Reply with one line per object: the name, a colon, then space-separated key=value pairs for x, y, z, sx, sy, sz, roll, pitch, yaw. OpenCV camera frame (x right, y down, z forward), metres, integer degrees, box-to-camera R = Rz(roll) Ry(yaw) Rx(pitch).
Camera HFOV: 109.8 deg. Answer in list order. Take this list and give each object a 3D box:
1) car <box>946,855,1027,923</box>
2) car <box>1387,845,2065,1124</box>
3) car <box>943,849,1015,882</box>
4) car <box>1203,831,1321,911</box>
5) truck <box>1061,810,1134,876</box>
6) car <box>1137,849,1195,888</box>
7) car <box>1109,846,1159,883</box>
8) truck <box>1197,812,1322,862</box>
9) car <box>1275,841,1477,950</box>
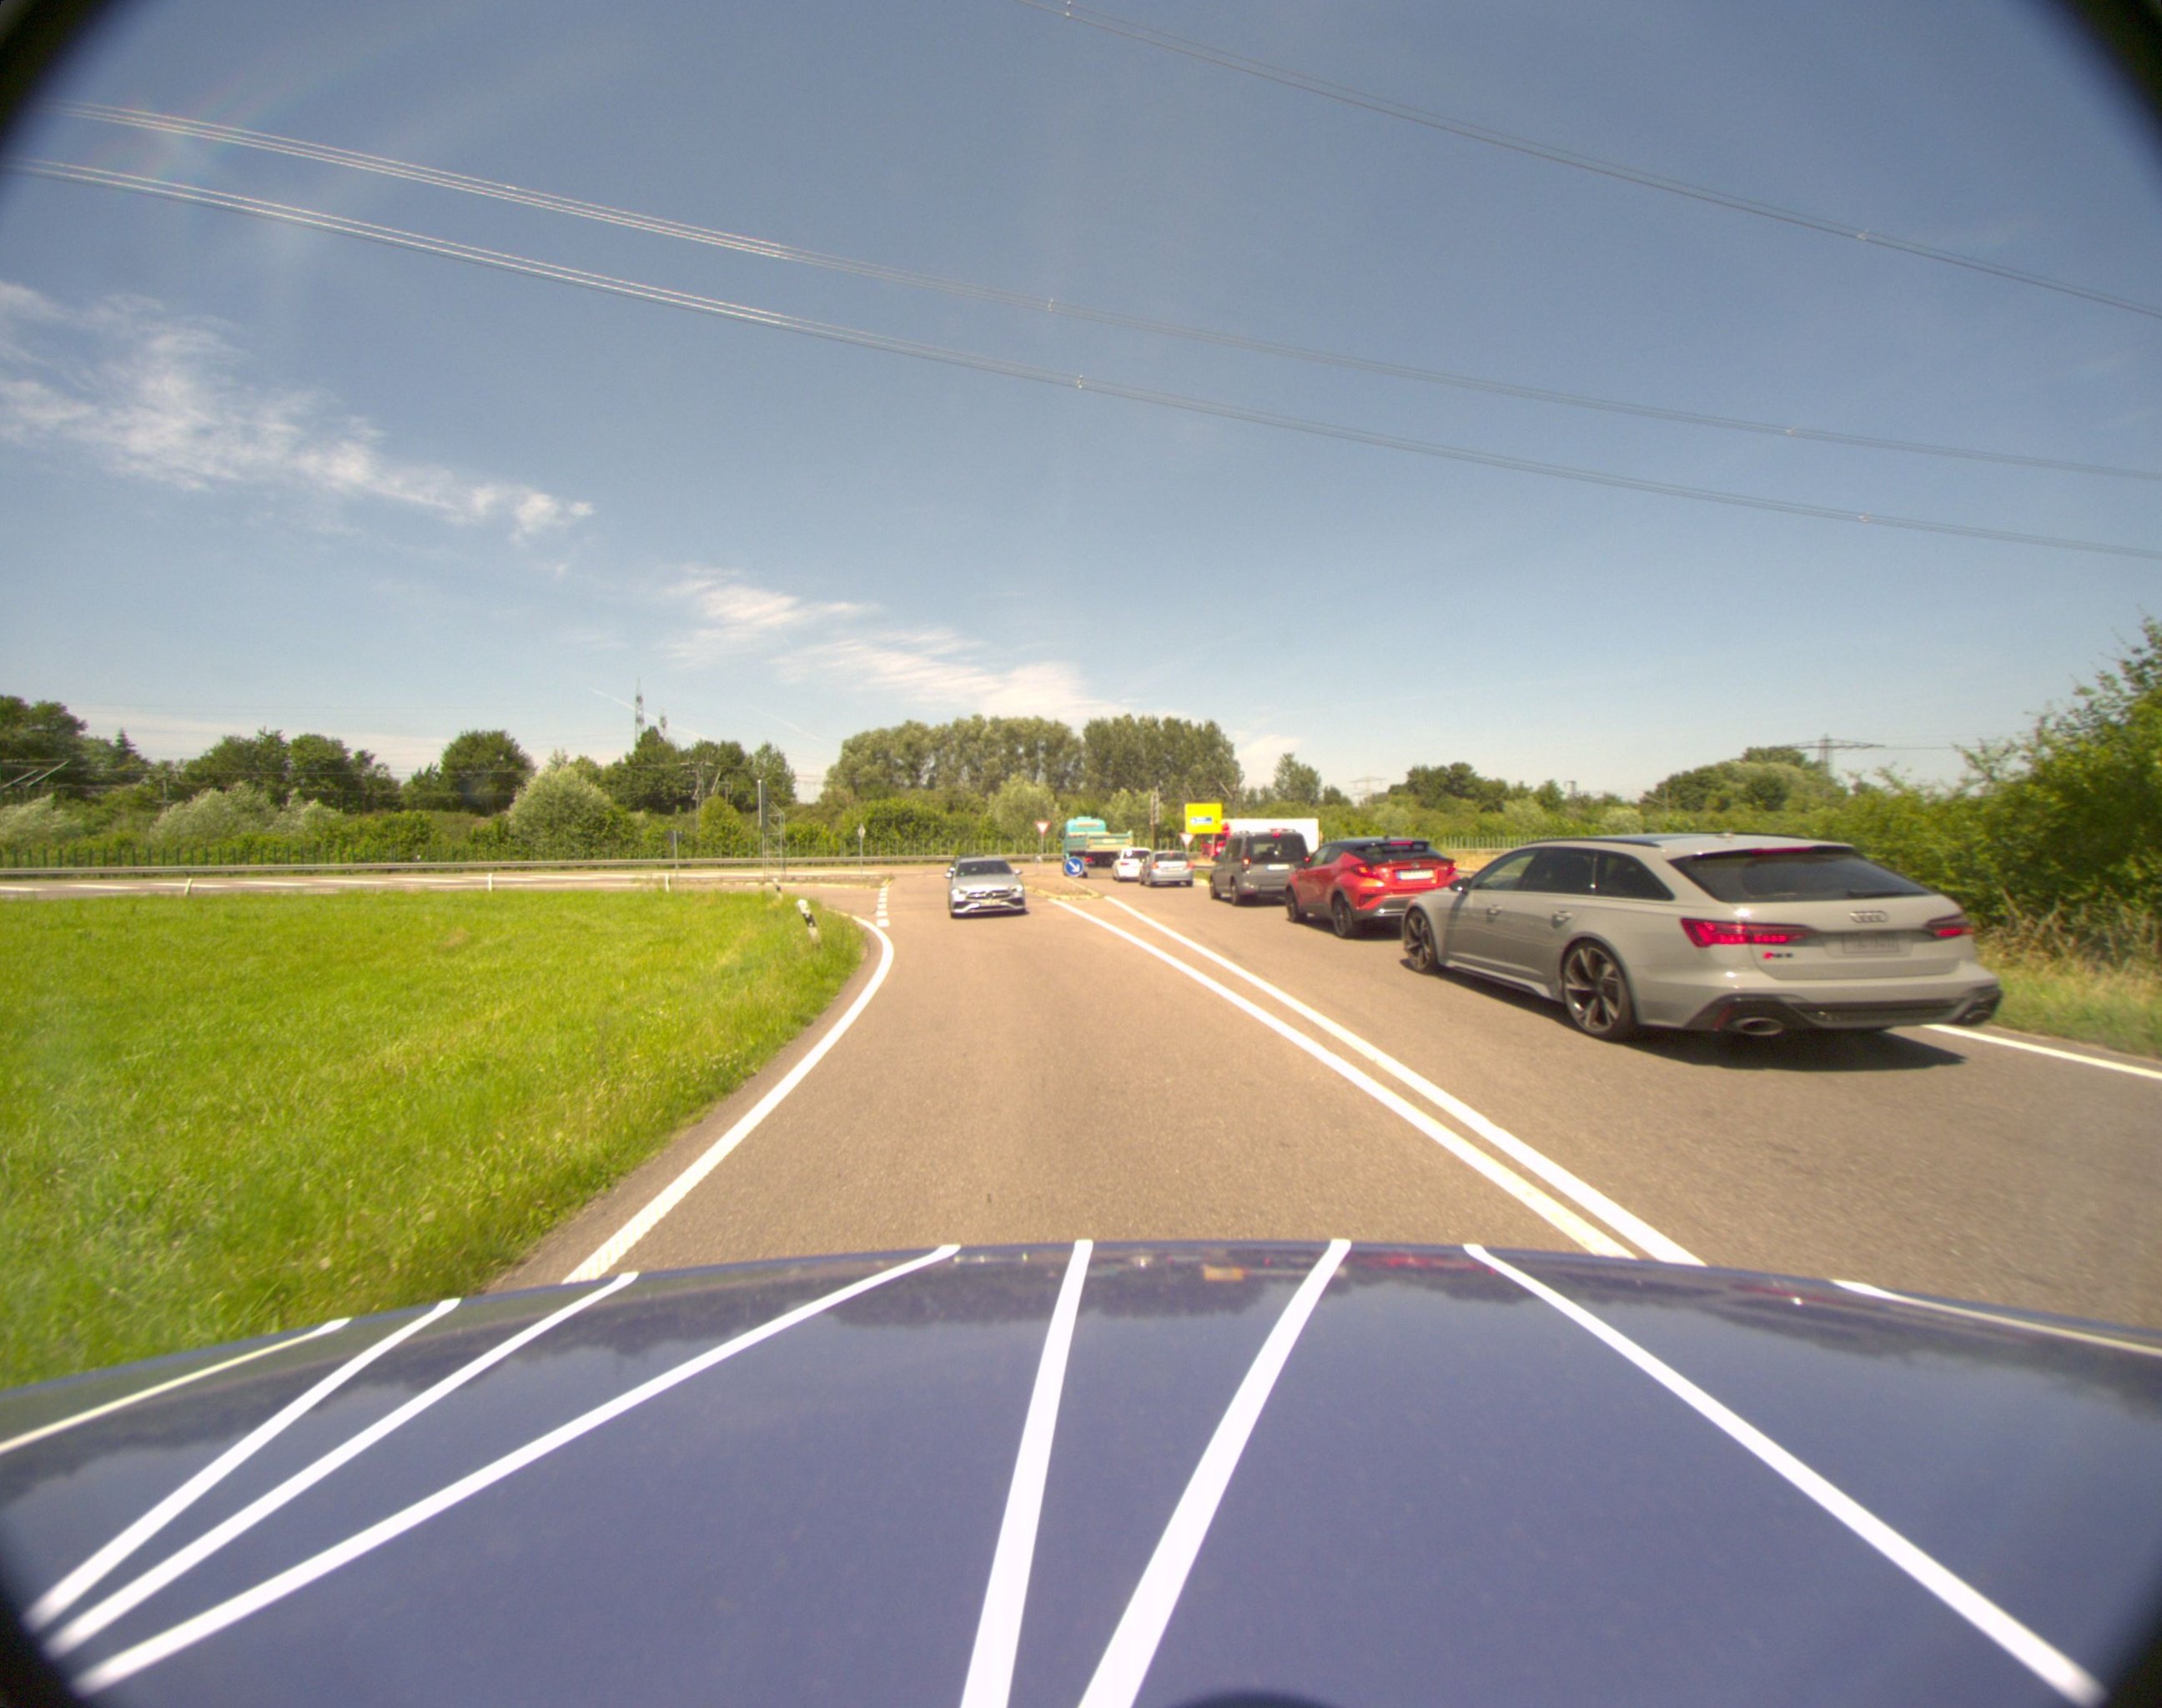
car: x=-2.558 y=0.815 z=19.838 sx=1.826 sy=1.478 sz=4.144 roll=-2 pitch=1 yaw=-10
car: x=4.523 y=0.697 z=6.595 sx=1.846 sy=1.452 sz=4.808 roll=-2 pitch=1 yaw=1
car: x=-5.401 y=0.557 z=40.784 sx=1.820 sy=1.432 sz=4.154 roll=2 pitch=4 yaw=26
car: x=4.575 y=0.377 z=19.952 sx=1.931 sy=1.821 sz=4.438 roll=-2 pitch=0 yaw=-1
truck: x=0.809 y=-0.619 z=43.928 sx=2.611 sy=3.451 sz=7.601 roll=-1 pitch=1 yaw=-11
car: x=3.340 y=0.525 z=30.510 sx=1.637 sy=1.451 sz=4.006 roll=-1 pitch=0 yaw=-4
car: x=2.479 y=0.451 z=36.555 sx=1.777 sy=1.611 sz=4.329 roll=-2 pitch=0 yaw=-4
truck: x=14.326 y=-1.414 z=60.862 sx=9.561 sy=3.559 sz=2.721 roll=-3 pitch=2 yaw=-17
car: x=4.726 y=0.553 z=12.930 sx=1.803 sy=1.507 sz=4.391 roll=-1 pitch=1 yaw=1
